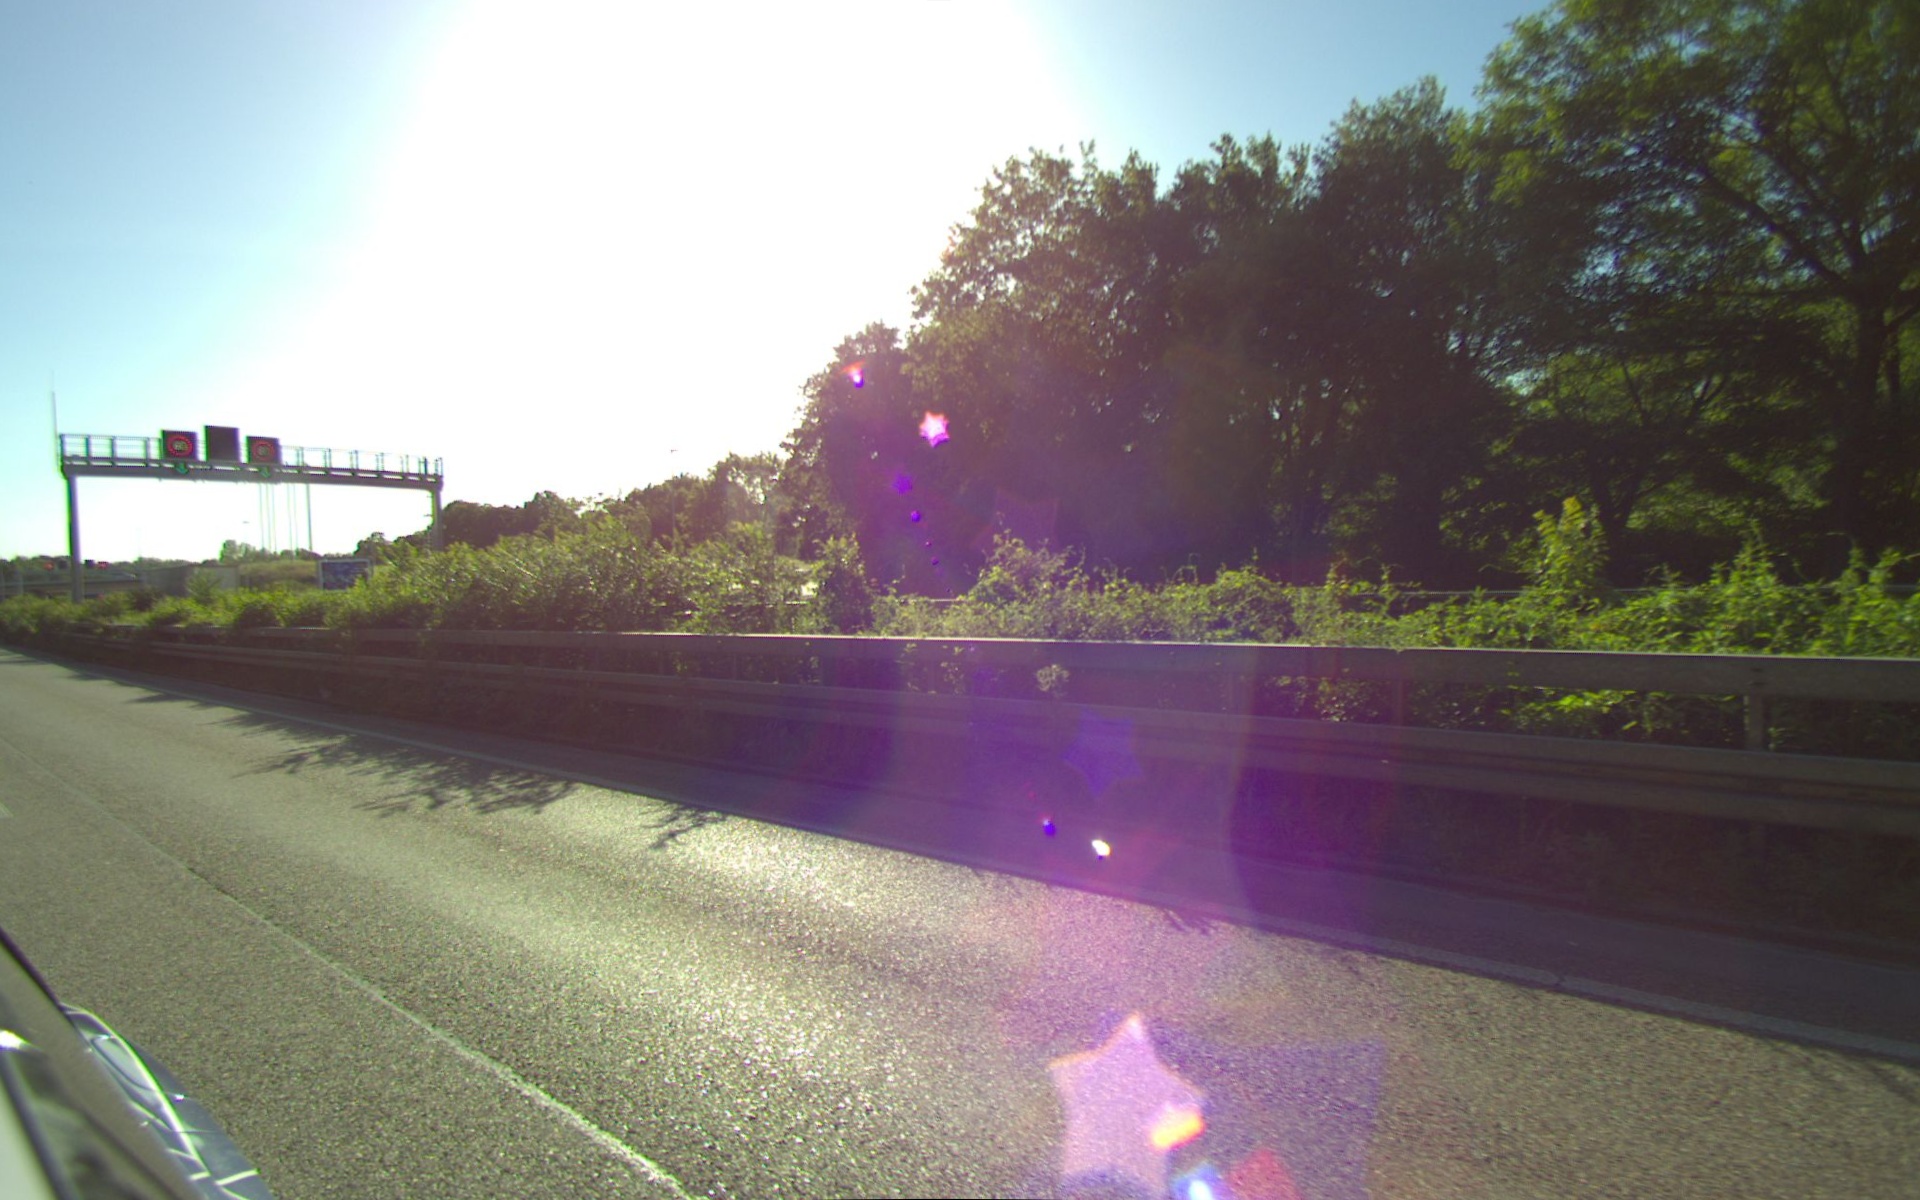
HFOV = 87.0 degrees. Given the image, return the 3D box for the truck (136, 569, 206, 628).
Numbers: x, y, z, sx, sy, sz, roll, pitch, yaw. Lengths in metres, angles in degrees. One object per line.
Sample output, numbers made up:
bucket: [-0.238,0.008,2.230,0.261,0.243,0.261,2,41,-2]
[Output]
truck: [-55.081,-0.082,70.611,5.901,3.942,2.971,-1,0,43]

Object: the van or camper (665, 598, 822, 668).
van or camper: [-7.080,1.024,32.627,5.939,2.029,1.856,-1,0,43]

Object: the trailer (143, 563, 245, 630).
trailer: [-50.072,-0.148,65.877,14.027,4.018,2.989,-1,0,43]
